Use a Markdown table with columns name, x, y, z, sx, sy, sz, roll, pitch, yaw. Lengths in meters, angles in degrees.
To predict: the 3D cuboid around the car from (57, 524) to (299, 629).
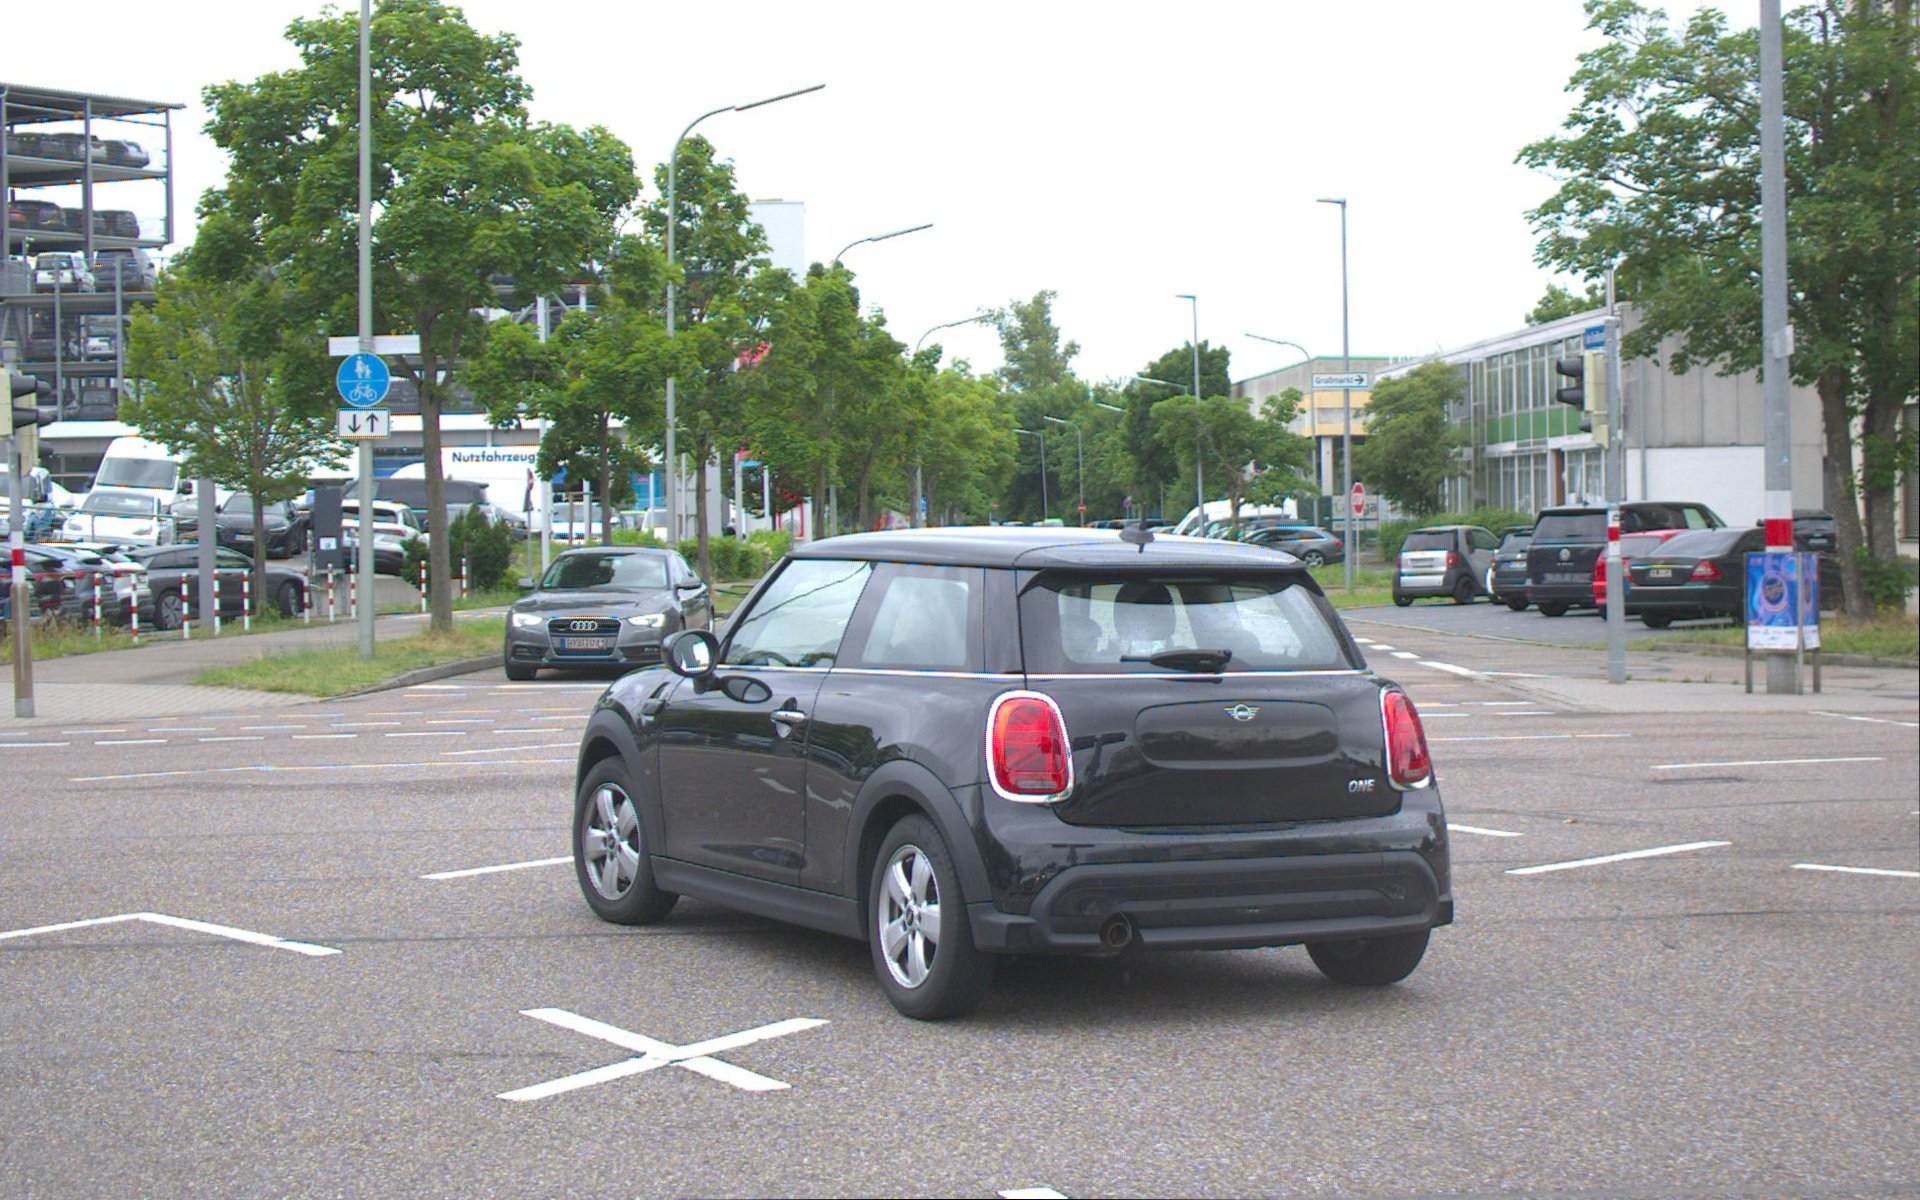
| name | x | y | z | sx | sy | sz | roll | pitch | yaw |
| --- | --- | --- | --- | --- | --- | --- | --- | --- | --- |
| car | -14.208 | -0.424 | 62.602 | 3.987 | 1.831 | 1.760 | 1 | 0 | -1 |

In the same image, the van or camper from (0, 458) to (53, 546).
| name | x | y | z | sx | sy | sz | roll | pitch | yaw |
| --- | --- | --- | --- | --- | --- | --- | --- | --- | --- |
| van or camper | -19.468 | -1.936 | 68.285 | 1.993 | 1.645 | 4.000 | 1 | 0 | -3 |

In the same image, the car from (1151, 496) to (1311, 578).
| name | x | y | z | sx | sy | sz | roll | pitch | yaw |
| --- | --- | --- | --- | --- | --- | --- | --- | --- | --- |
| car | 10.681 | -2.485 | 135.727 | 6.116 | 3.106 | 2.134 | 1 | 0 | 0 |

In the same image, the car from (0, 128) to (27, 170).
| name | x | y | z | sx | sy | sz | roll | pitch | yaw |
| --- | --- | --- | --- | --- | --- | --- | --- | --- | --- |
| car | -45.604 | -20.939 | 160.073 | 3.994 | 1.661 | 1.996 | 1 | 1 | 33 |

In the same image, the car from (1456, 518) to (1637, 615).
| name | x | y | z | sx | sy | sz | roll | pitch | yaw |
| --- | --- | --- | --- | --- | --- | --- | --- | --- | --- |
| car | 11.336 | -0.636 | 66.429 | 3.424 | 1.792 | 1.590 | 1 | 0 | -40 |

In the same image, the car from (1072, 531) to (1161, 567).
| name | x | y | z | sx | sy | sz | roll | pitch | yaw |
| --- | --- | --- | --- | --- | --- | --- | --- | --- | --- |
| car | 9.235 | -3.003 | 203.027 | 5.173 | 2.007 | 2.143 | 1 | 0 | 0 |

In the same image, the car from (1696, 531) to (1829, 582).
| name | x | y | z | sx | sy | sz | roll | pitch | yaw |
| --- | --- | --- | --- | --- | --- | --- | --- | --- | --- |
| car | 22.065 | -1.185 | 94.559 | 3.229 | 1.328 | 1.486 | 1 | 0 | -17 |

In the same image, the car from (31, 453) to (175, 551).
| name | x | y | z | sx | sy | sz | roll | pitch | yaw |
| --- | --- | --- | --- | --- | --- | --- | --- | --- | --- |
| car | -16.999 | -1.920 | 68.340 | 1.993 | 1.817 | 4.000 | 1 | 0 | -2 |

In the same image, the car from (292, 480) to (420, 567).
| name | x | y | z | sx | sy | sz | roll | pitch | yaw |
| --- | --- | --- | --- | --- | --- | --- | --- | --- | --- |
| car | -11.998 | -1.499 | 68.501 | 1.993 | 1.612 | 4.000 | 1 | 0 | -2 |

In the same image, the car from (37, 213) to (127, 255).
| name | x | y | z | sx | sy | sz | roll | pitch | yaw |
| --- | --- | --- | --- | --- | --- | --- | --- | --- | --- |
| car | -42.209 | -17.583 | 165.282 | 3.994 | 1.661 | 1.996 | 1 | 1 | 33 |

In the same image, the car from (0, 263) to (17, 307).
| name | x | y | z | sx | sy | sz | roll | pitch | yaw |
| --- | --- | --- | --- | --- | --- | --- | --- | --- | --- |
| car | -46.806 | -14.665 | 160.596 | 5.323 | 1.938 | 2.207 | 1 | 1 | 30 |

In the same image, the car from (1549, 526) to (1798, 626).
| name | x | y | z | sx | sy | sz | roll | pitch | yaw |
| --- | --- | --- | --- | --- | --- | --- | --- | --- | --- |
| car | 11.467 | -0.379 | 55.111 | 4.122 | 1.546 | 1.888 | -1 | 0 | -44 |

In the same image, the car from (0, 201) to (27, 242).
| name | x | y | z | sx | sy | sz | roll | pitch | yaw |
| --- | --- | --- | --- | --- | --- | --- | --- | --- | --- |
| car | -45.587 | -17.593 | 160.068 | 3.994 | 1.661 | 1.996 | 1 | 1 | 33 |

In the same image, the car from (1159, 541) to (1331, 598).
| name | x | y | z | sx | sy | sz | roll | pitch | yaw |
| --- | --- | --- | --- | --- | --- | --- | --- | --- | --- |
| car | 8.920 | -0.946 | 107.895 | 5.173 | 1.714 | 2.144 | 1 | 0 | -1 |

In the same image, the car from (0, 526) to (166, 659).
| name | x | y | z | sx | sy | sz | roll | pitch | yaw |
| --- | --- | --- | --- | --- | --- | --- | --- | --- | --- |
| car | -15.370 | -0.063 | 54.881 | 4.892 | 2.007 | 2.000 | -2 | 0 | -3 |

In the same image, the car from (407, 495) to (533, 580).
| name | x | y | z | sx | sy | sz | roll | pitch | yaw |
| --- | --- | --- | --- | --- | --- | --- | --- | --- | --- |
| car | -9.832 | -1.243 | 69.301 | 1.993 | 1.612 | 4.000 | 1 | 0 | -1 |

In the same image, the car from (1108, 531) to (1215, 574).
| name | x | y | z | sx | sy | sz | roll | pitch | yaw |
| --- | --- | --- | --- | --- | --- | --- | --- | --- | --- |
| car | 9.354 | -2.194 | 159.745 | 4.785 | 1.885 | 2.144 | 1 | 0 | -1 |

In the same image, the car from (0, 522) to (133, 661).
| name | x | y | z | sx | sy | sz | roll | pitch | yaw |
| --- | --- | --- | --- | --- | --- | --- | --- | --- | --- |
| car | -15.212 | -0.060 | 52.044 | 4.892 | 2.007 | 2.000 | -2 | 0 | -3 |

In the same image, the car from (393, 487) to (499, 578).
| name | x | y | z | sx | sy | sz | roll | pitch | yaw |
| --- | --- | --- | --- | --- | --- | --- | --- | --- | --- |
| car | -11.904 | -1.536 | 79.822 | 1.993 | 2.007 | 4.000 | 1 | 0 | -2 |

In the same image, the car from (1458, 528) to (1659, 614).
| name | x | y | z | sx | sy | sz | roll | pitch | yaw |
| --- | --- | --- | --- | --- | --- | --- | --- | --- | --- |
| car | 10.769 | -0.519 | 61.737 | 1.696 | 1.506 | 3.807 | 0 | 0 | 44 |

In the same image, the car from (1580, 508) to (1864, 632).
| name | x | y | z | sx | sy | sz | roll | pitch | yaw |
| --- | --- | --- | --- | --- | --- | --- | --- | --- | --- |
| car | 11.258 | -0.437 | 50.684 | 4.121 | 1.762 | 1.888 | -1 | 0 | -38 |

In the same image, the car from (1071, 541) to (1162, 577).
| name | x | y | z | sx | sy | sz | roll | pitch | yaw |
| --- | --- | --- | --- | --- | --- | --- | --- | --- | --- |
| car | 9.075 | -2.391 | 199.680 | 5.173 | 2.007 | 2.143 | 1 | 0 | 0 |

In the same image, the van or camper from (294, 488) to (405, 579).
| name | x | y | z | sx | sy | sz | roll | pitch | yaw |
| --- | --- | --- | --- | --- | --- | --- | --- | --- | --- |
| van or camper | -14.107 | -1.525 | 79.679 | 1.993 | 2.007 | 4.000 | 1 | 0 | -2 |

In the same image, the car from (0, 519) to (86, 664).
| name | x | y | z | sx | sy | sz | roll | pitch | yaw |
| --- | --- | --- | --- | --- | --- | --- | --- | --- | --- |
| car | -15.259 | -0.028 | 49.325 | 4.892 | 2.007 | 2.000 | -2 | 0 | -3 |

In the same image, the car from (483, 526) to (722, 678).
| name | x | y | z | sx | sy | sz | roll | pitch | yaw |
| --- | --- | --- | --- | --- | --- | --- | --- | --- | --- |
| car | -3.838 | -0.024 | 37.688 | 1.979 | 1.546 | 4.614 | -1 | 1 | 2 |

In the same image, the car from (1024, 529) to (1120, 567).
| name | x | y | z | sx | sy | sz | roll | pitch | yaw |
| --- | --- | --- | --- | --- | --- | --- | --- | --- | --- |
| car | 6.164 | -2.851 | 189.200 | 5.173 | 2.007 | 2.143 | 1 | 0 | 0 |

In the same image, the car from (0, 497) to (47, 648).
| name | x | y | z | sx | sy | sz | roll | pitch | yaw |
| --- | --- | --- | --- | --- | --- | --- | --- | --- | --- |
| car | -15.010 | -0.270 | 46.525 | 4.772 | 2.007 | 2.000 | -3 | 0 | -5 |

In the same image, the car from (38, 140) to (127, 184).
| name | x | y | z | sx | sy | sz | roll | pitch | yaw |
| --- | --- | --- | --- | --- | --- | --- | --- | --- | --- |
| car | -42.219 | -21.057 | 165.440 | 3.994 | 1.661 | 1.996 | 1 | 1 | 33 |

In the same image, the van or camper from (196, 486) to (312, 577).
| name | x | y | z | sx | sy | sz | roll | pitch | yaw |
| --- | --- | --- | --- | --- | --- | --- | --- | --- | --- |
| van or camper | -16.311 | -1.558 | 79.550 | 1.993 | 2.007 | 4.000 | 1 | 0 | -2 |

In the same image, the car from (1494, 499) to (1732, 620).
| name | x | y | z | sx | sy | sz | roll | pitch | yaw |
| --- | --- | --- | --- | --- | --- | --- | --- | --- | --- |
| car | 11.102 | -0.672 | 58.322 | 1.998 | 1.959 | 4.234 | -1 | 0 | 43 |

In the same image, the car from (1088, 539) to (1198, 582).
| name | x | y | z | sx | sy | sz | roll | pitch | yaw |
| --- | --- | --- | --- | --- | --- | --- | --- | --- | --- |
| car | 8.849 | -1.910 | 166.363 | 5.173 | 2.007 | 2.143 | 1 | 0 | 0 |

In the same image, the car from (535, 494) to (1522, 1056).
| name | x | y | z | sx | sy | sz | roll | pitch | yaw |
| --- | --- | --- | --- | --- | --- | --- | --- | --- | --- |
| car | 0.042 | 0.423 | 11.390 | 1.785 | 1.410 | 3.644 | 0 | 4 | -26 |

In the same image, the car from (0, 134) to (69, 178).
| name | x | y | z | sx | sy | sz | roll | pitch | yaw |
| --- | --- | --- | --- | --- | --- | --- | --- | --- | --- |
| car | -44.155 | -20.915 | 162.141 | 3.994 | 1.661 | 1.996 | 1 | 1 | 33 |

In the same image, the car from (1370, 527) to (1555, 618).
| name | x | y | z | sx | sy | sz | roll | pitch | yaw |
| --- | --- | --- | --- | --- | --- | --- | --- | --- | --- |
| car | 9.947 | -0.524 | 67.946 | 3.424 | 1.726 | 1.765 | 1 | 0 | -40 |

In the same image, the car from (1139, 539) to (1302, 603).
| name | x | y | z | sx | sy | sz | roll | pitch | yaw |
| --- | --- | --- | --- | --- | --- | --- | --- | --- | --- |
| car | 8.552 | -0.956 | 113.156 | 5.173 | 2.007 | 2.144 | 1 | 0 | -1 |

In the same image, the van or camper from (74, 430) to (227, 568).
| name | x | y | z | sx | sy | sz | roll | pitch | yaw |
| --- | --- | --- | --- | --- | --- | --- | --- | --- | --- |
| van or camper | -18.698 | -2.291 | 79.658 | 2.535 | 3.016 | 4.844 | 1 | 0 | -2 |
